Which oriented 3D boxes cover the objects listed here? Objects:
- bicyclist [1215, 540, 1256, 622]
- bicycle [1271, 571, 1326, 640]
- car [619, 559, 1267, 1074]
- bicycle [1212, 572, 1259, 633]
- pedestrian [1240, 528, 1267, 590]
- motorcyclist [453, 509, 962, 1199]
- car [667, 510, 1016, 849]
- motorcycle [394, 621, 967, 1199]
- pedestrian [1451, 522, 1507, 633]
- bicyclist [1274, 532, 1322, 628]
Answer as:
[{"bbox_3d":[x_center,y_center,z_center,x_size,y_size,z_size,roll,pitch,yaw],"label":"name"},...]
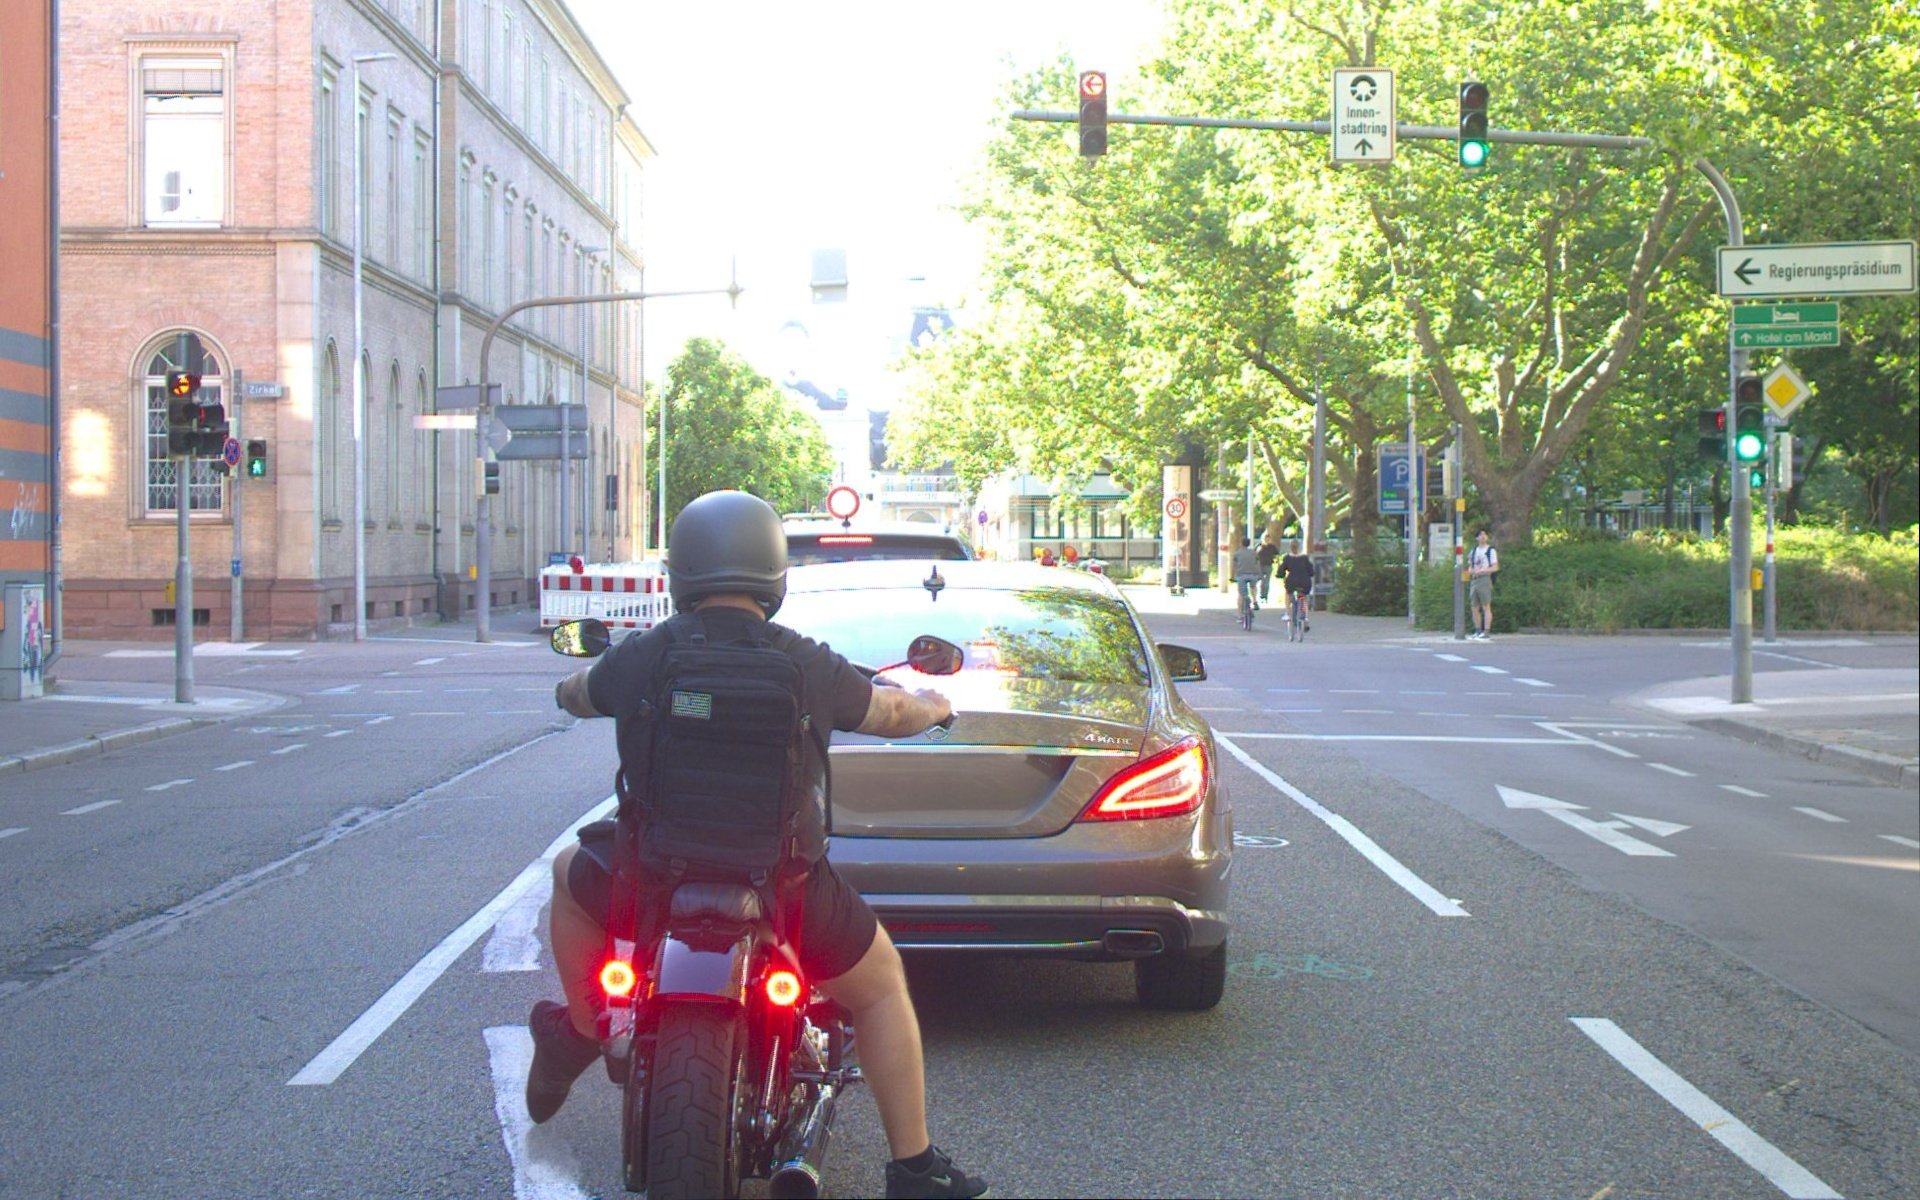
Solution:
[{"bbox_3d":[5.201,-0.361,64.870,0.656,1.525,0.906,1,1,-1],"label":"bicyclist"},{"bbox_3d":[5.444,0.074,55.396,0.656,1.066,1.927,1,1,-1],"label":"bicycle"},{"bbox_3d":[-0.073,0.594,11.664,1.828,1.415,3.815,0,1,-1],"label":"car"},{"bbox_3d":[5.198,0.032,64.851,0.656,1.107,2.186,1,1,-1],"label":"bicycle"},{"bbox_3d":[7.585,-1.065,88.881,0.592,1.573,0.527,1,1,0],"label":"pedestrian"},{"bbox_3d":[-0.512,0.603,7.574,1.012,1.596,1.406,0,1,-1],"label":"motorcyclist"},{"bbox_3d":[-0.748,0.371,18.962,1.630,1.645,3.851,1,1,-6],"label":"car"},{"bbox_3d":[-0.511,0.733,7.431,1.012,1.302,2.673,0,1,-1],"label":"motorcycle"},{"bbox_3d":[8.366,-0.359,55.391,0.570,1.768,0.625,1,1,-34],"label":"pedestrian"},{"bbox_3d":[5.450,-0.328,55.464,0.656,1.525,0.852,1,1,-1],"label":"bicyclist"}]
